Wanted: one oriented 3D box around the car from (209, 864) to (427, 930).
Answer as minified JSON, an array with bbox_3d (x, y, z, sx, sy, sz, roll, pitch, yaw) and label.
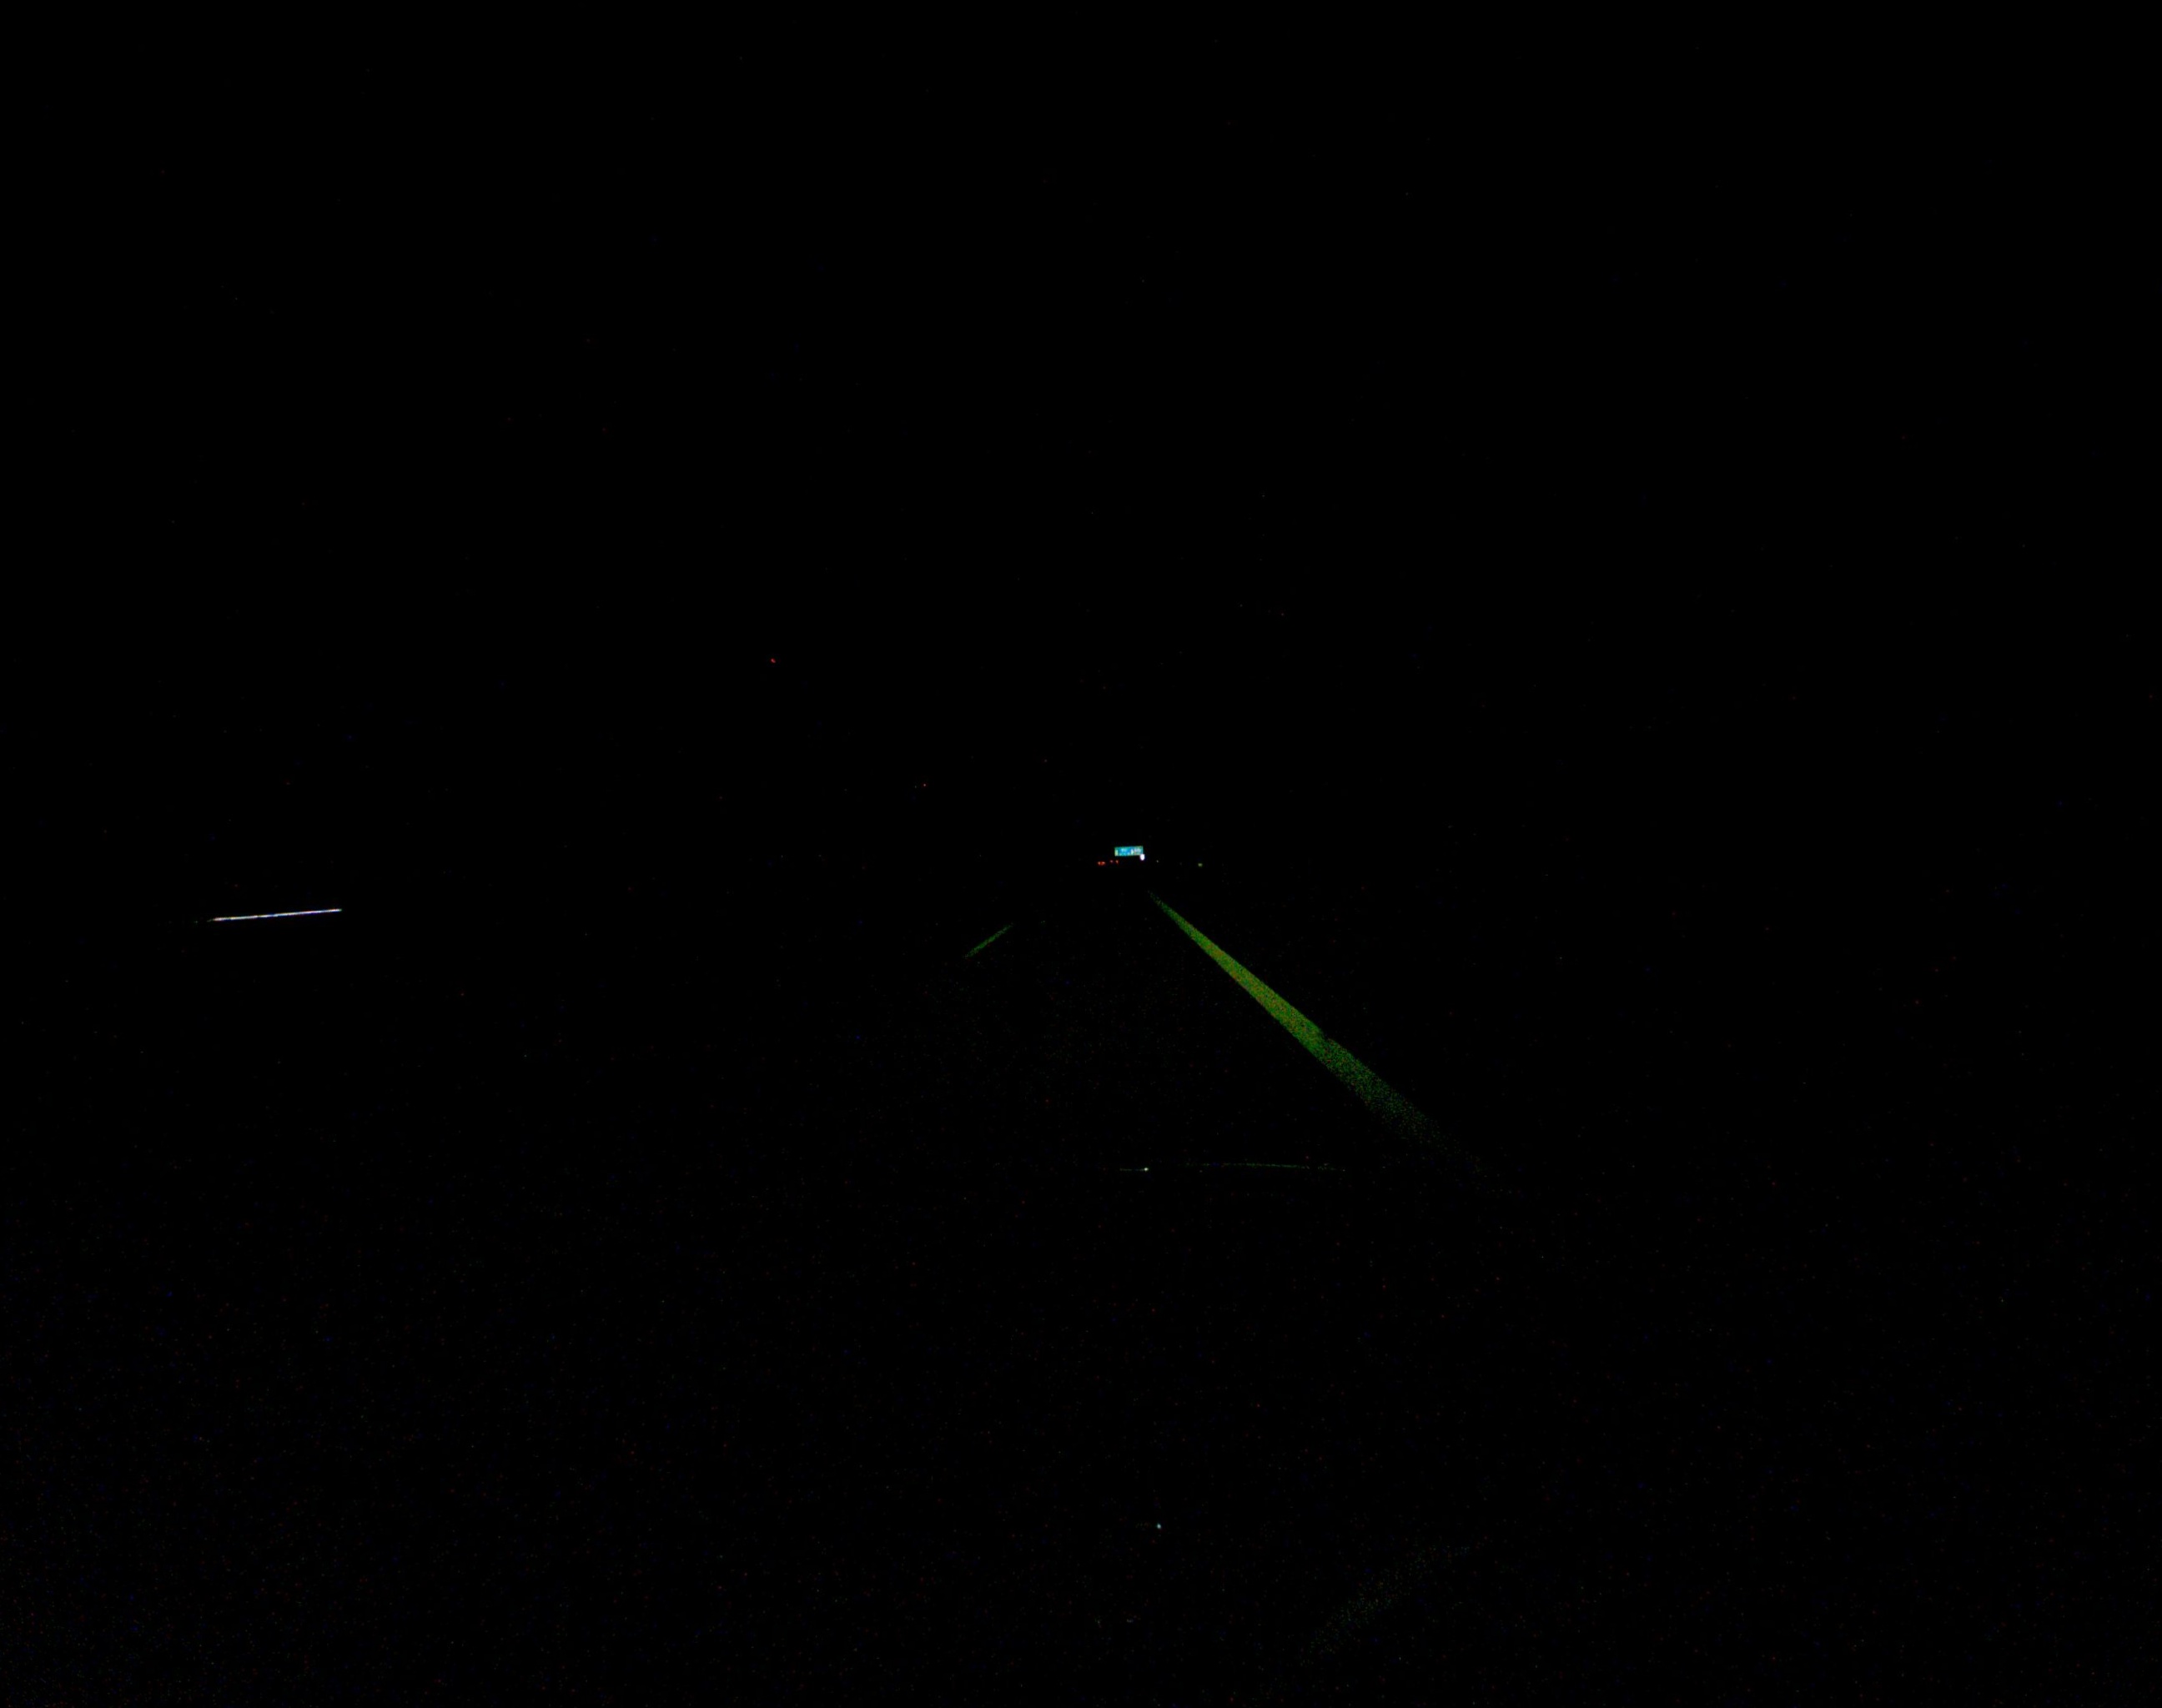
[{"bbox_3d":[-22.027,1.170,23.835,1.891,1.646,4.703,-1,0,0],"label":"car"}]
